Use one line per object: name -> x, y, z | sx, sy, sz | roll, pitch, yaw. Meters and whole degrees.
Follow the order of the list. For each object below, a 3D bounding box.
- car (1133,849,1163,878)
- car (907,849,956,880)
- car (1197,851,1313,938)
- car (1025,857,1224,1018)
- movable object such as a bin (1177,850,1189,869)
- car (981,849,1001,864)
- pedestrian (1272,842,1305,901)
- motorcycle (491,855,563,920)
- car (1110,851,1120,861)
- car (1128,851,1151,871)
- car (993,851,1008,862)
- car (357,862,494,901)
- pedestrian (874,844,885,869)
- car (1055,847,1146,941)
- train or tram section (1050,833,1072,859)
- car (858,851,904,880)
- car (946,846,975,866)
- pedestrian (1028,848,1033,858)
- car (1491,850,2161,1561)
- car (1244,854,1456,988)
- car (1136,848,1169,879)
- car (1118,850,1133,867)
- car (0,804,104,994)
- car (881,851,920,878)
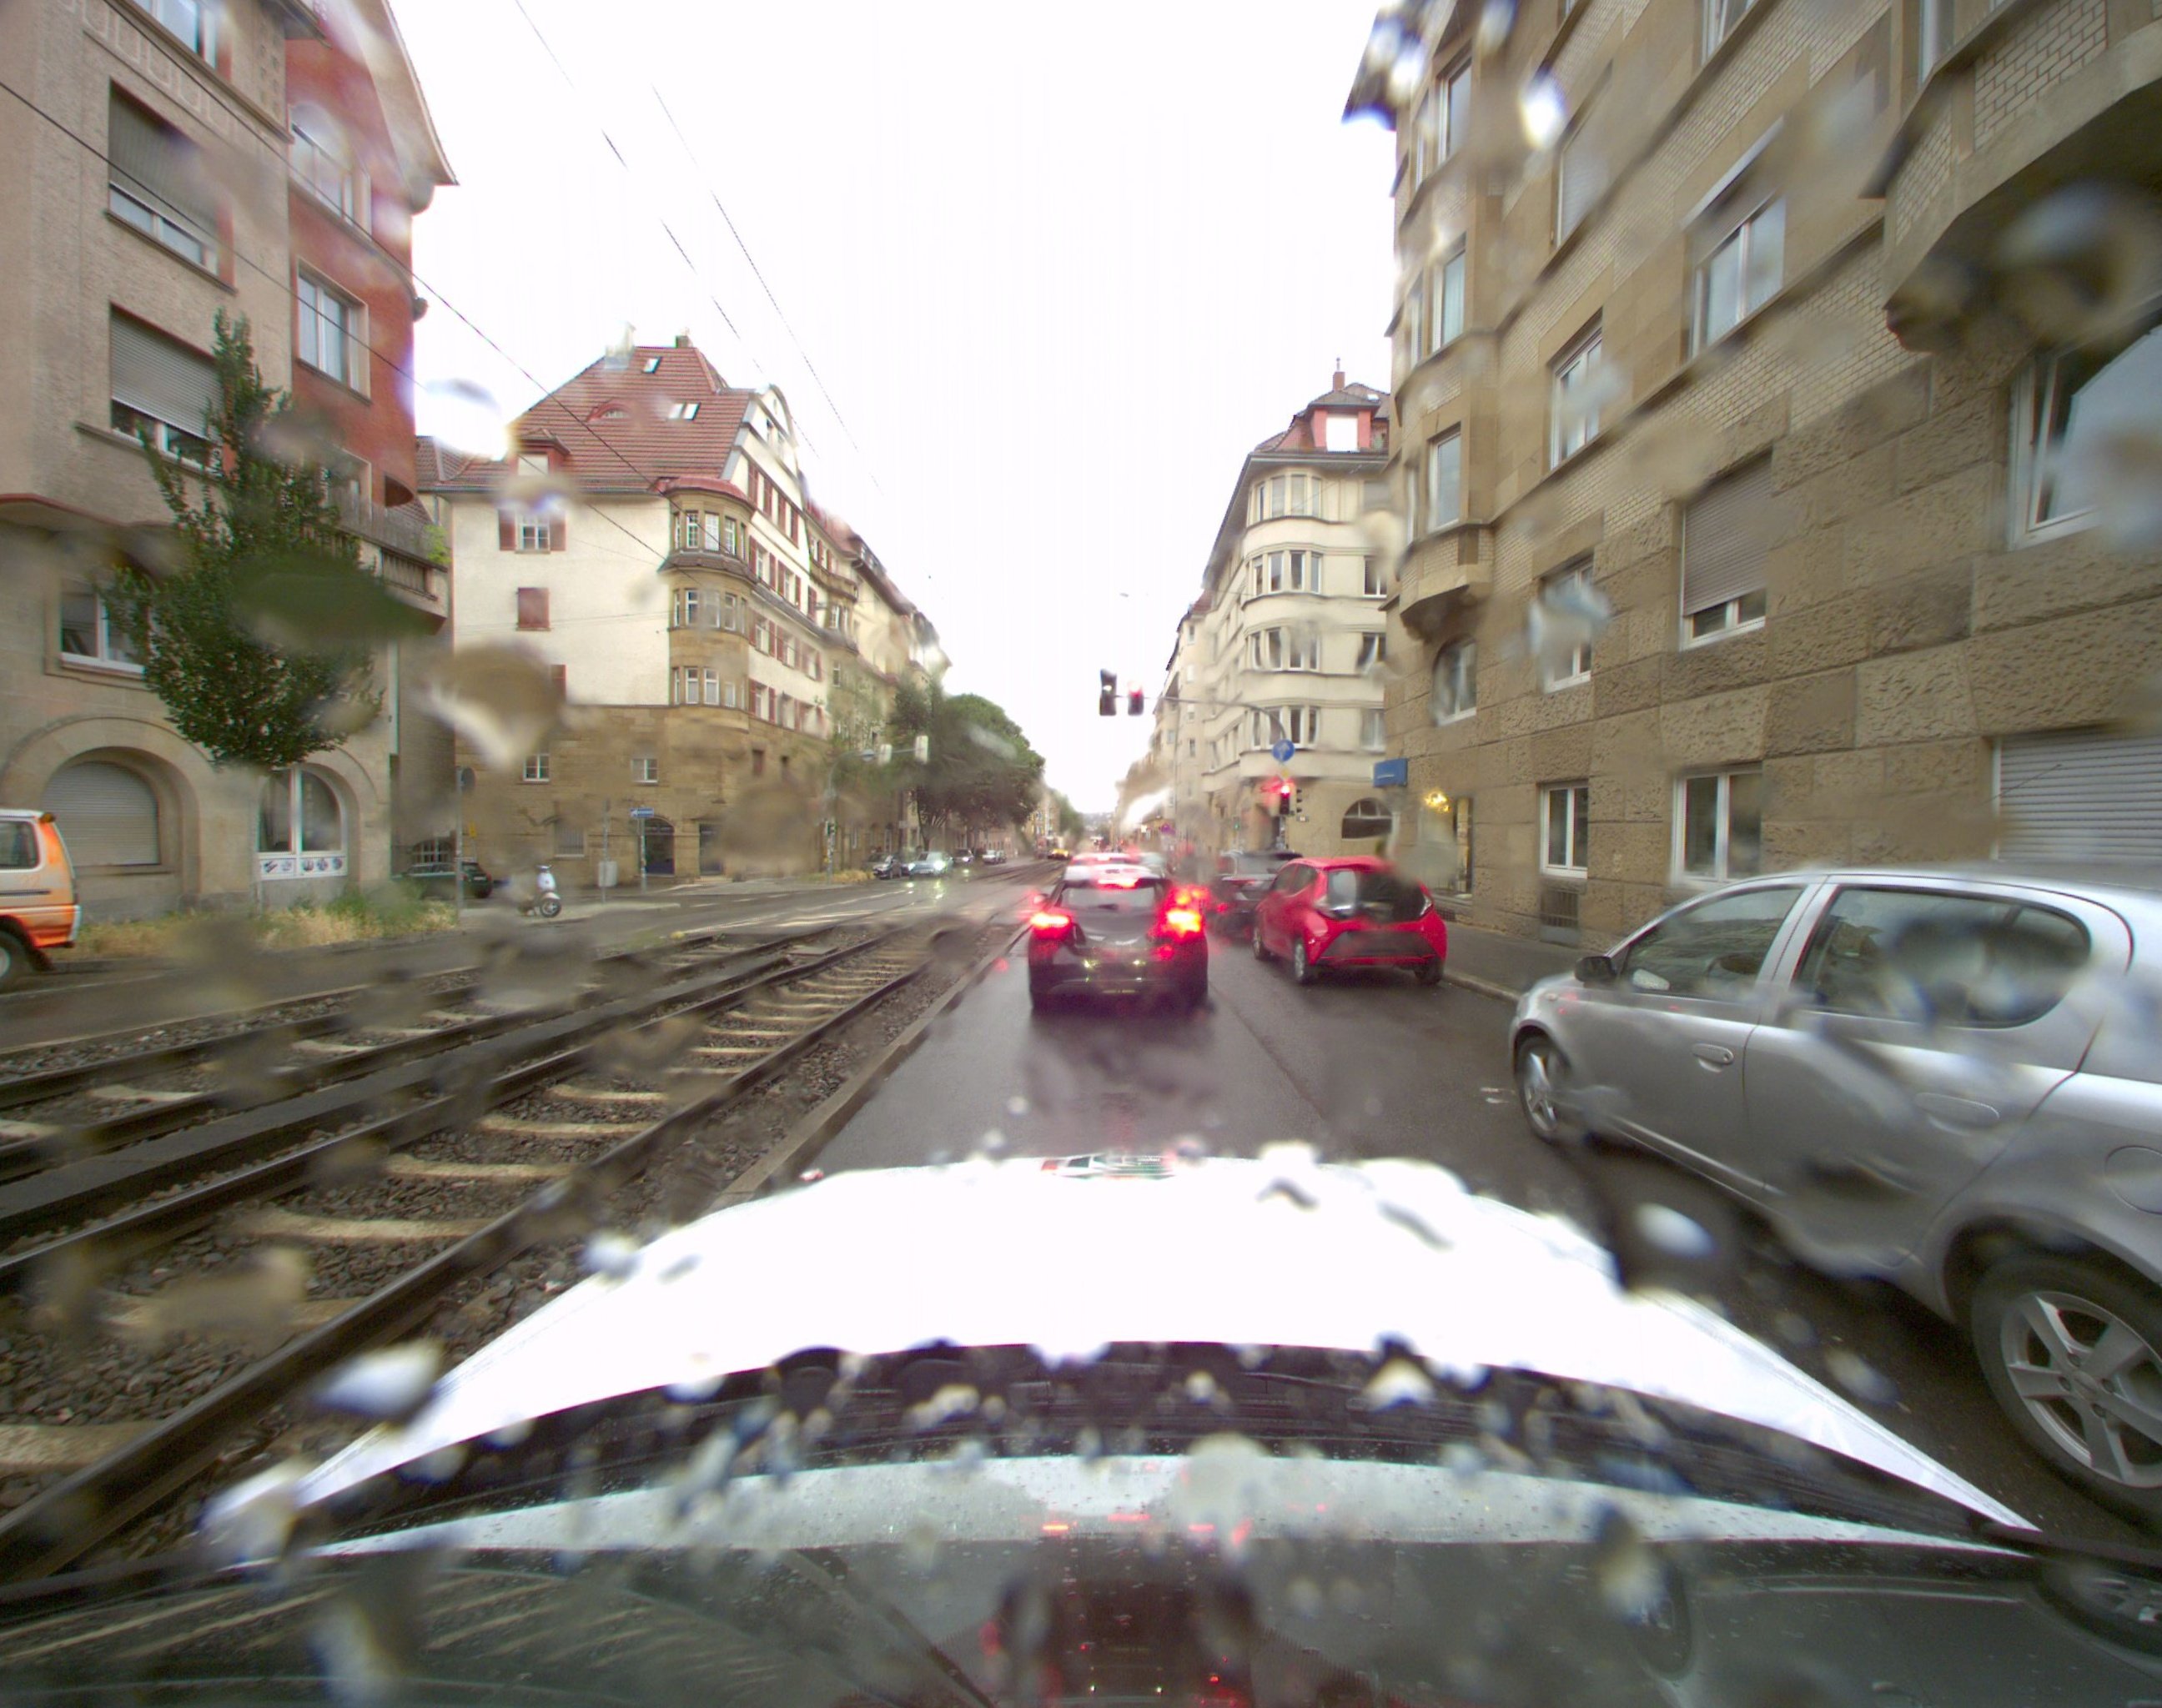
car -> 3.837, 0.524, 47.159 | 1.539, 1.590, 3.549 | 0, 0, 2
car -> -8.275, 0.577, 45.414 | 1.891, 1.588, 3.974 | 0, -1, 2
car -> 3.239, 0.688, 15.793 | 1.539, 1.486, 3.831 | 0, 0, 2
car -> 0.462, 0.780, 9.547 | 1.822, 1.458, 4.105 | 0, 0, 2
movable object such as a bin -> 7.468, 0.421, 59.540 | 0.873, 1.389, 0.984 | 0, -1, 5
car -> -9.873, 0.302, 89.580 | 1.583, 1.581, 3.920 | 0, -1, 2
pedestrian -> 6.278, 0.535, 24.718 | 0.739, 1.748, 1.111 | 0, -1, 2
motorcycle -> -12.071, 0.708, 17.749 | 1.577, 1.365, 0.628 | -1, -1, 28
car -> 5.569, 0.338, 131.962 | 1.538, 1.636, 3.690 | 0, 0, 4
car -> 4.410, 0.526, 61.566 | 1.539, 1.486, 3.549 | 0, 0, 2
car -> -9.804, 0.288, 98.996 | 1.443, 1.331, 3.271 | 0, -1, 0
car -> -24.389, 1.004, 30.391 | 3.633, 1.404, 1.699 | 0, -1, -3
pedestrian -> -14.042, 0.181, 56.699 | 0.629, 1.672, 0.702 | 0, -1, -3
car -> 0.388, 0.699, 15.942 | 1.559, 1.609, 3.815 | 0, -1, 2
train or tram section -> -2.977, -1.122, 126.615 | 2.772, 3.861, 10.433 | 0, -1, 2
car -> -11.260, 0.635, 46.100 | 1.747, 1.552, 4.033 | 0, -1, -2
car -> -10.602, 0.209, 72.122 | 1.868, 1.737, 3.920 | 0, -1, 2
pedestrian -> -10.865, -0.229, 175.855 | 1.049, 1.957, 1.043 | 1, 0, 3
car -> 3.142, 0.741, 3.083 | 1.608, 1.467, 3.314 | -2, 0, 3
car -> 3.273, 0.734, 10.549 | 1.637, 1.448, 3.298 | 0, 0, -1
car -> 3.696, 0.480, 42.685 | 1.539, 1.590, 3.549 | 0, 0, 2
car -> 4.020, 0.401, 73.657 | 1.289, 1.442, 2.930 | 0, 0, 2
car -> -12.127, 0.465, 7.193 | 1.725, 1.975, 4.341 | 0, -1, 0
car -> -11.292, 0.641, 51.135 | 1.713, 1.611, 3.914 | 0, -1, -3
